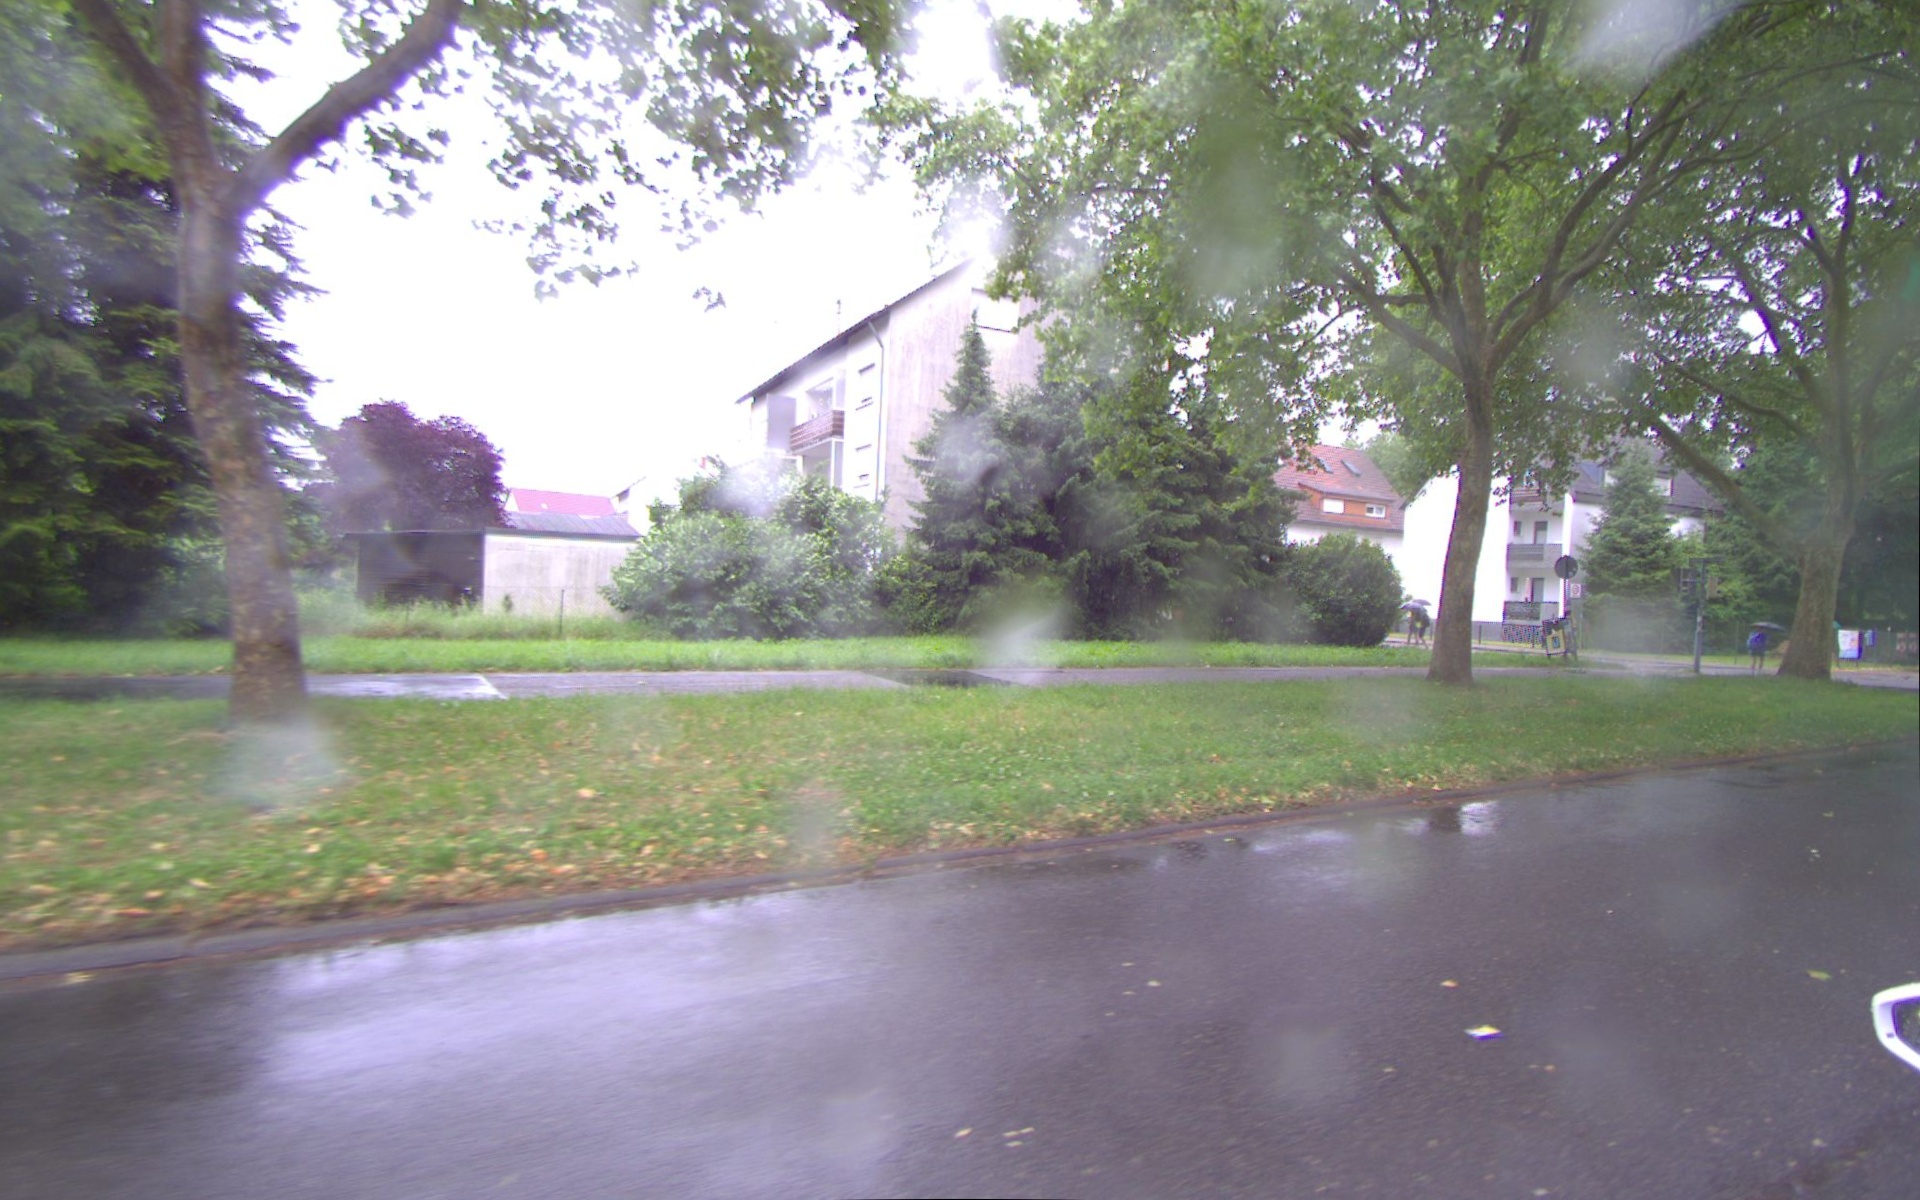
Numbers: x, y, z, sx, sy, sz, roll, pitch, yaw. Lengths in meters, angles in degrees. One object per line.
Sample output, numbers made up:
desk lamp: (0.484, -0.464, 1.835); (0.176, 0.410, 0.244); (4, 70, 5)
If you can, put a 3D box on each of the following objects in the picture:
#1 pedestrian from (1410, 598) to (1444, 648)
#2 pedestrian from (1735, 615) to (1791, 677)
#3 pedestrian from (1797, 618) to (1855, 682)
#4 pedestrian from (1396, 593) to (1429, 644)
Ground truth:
pedestrian: (16.931, 0.830, 36.440); (0.633, 1.768, 0.854); (2, 1, -33)
pedestrian: (24.174, 1.368, 30.237); (0.869, 1.789, 1.028); (1, 0, -30)
pedestrian: (25.049, 1.427, 29.068); (0.828, 1.789, 1.028); (1, 0, -30)
pedestrian: (16.174, 0.664, 35.932); (0.633, 1.768, 0.815); (2, 1, -33)
